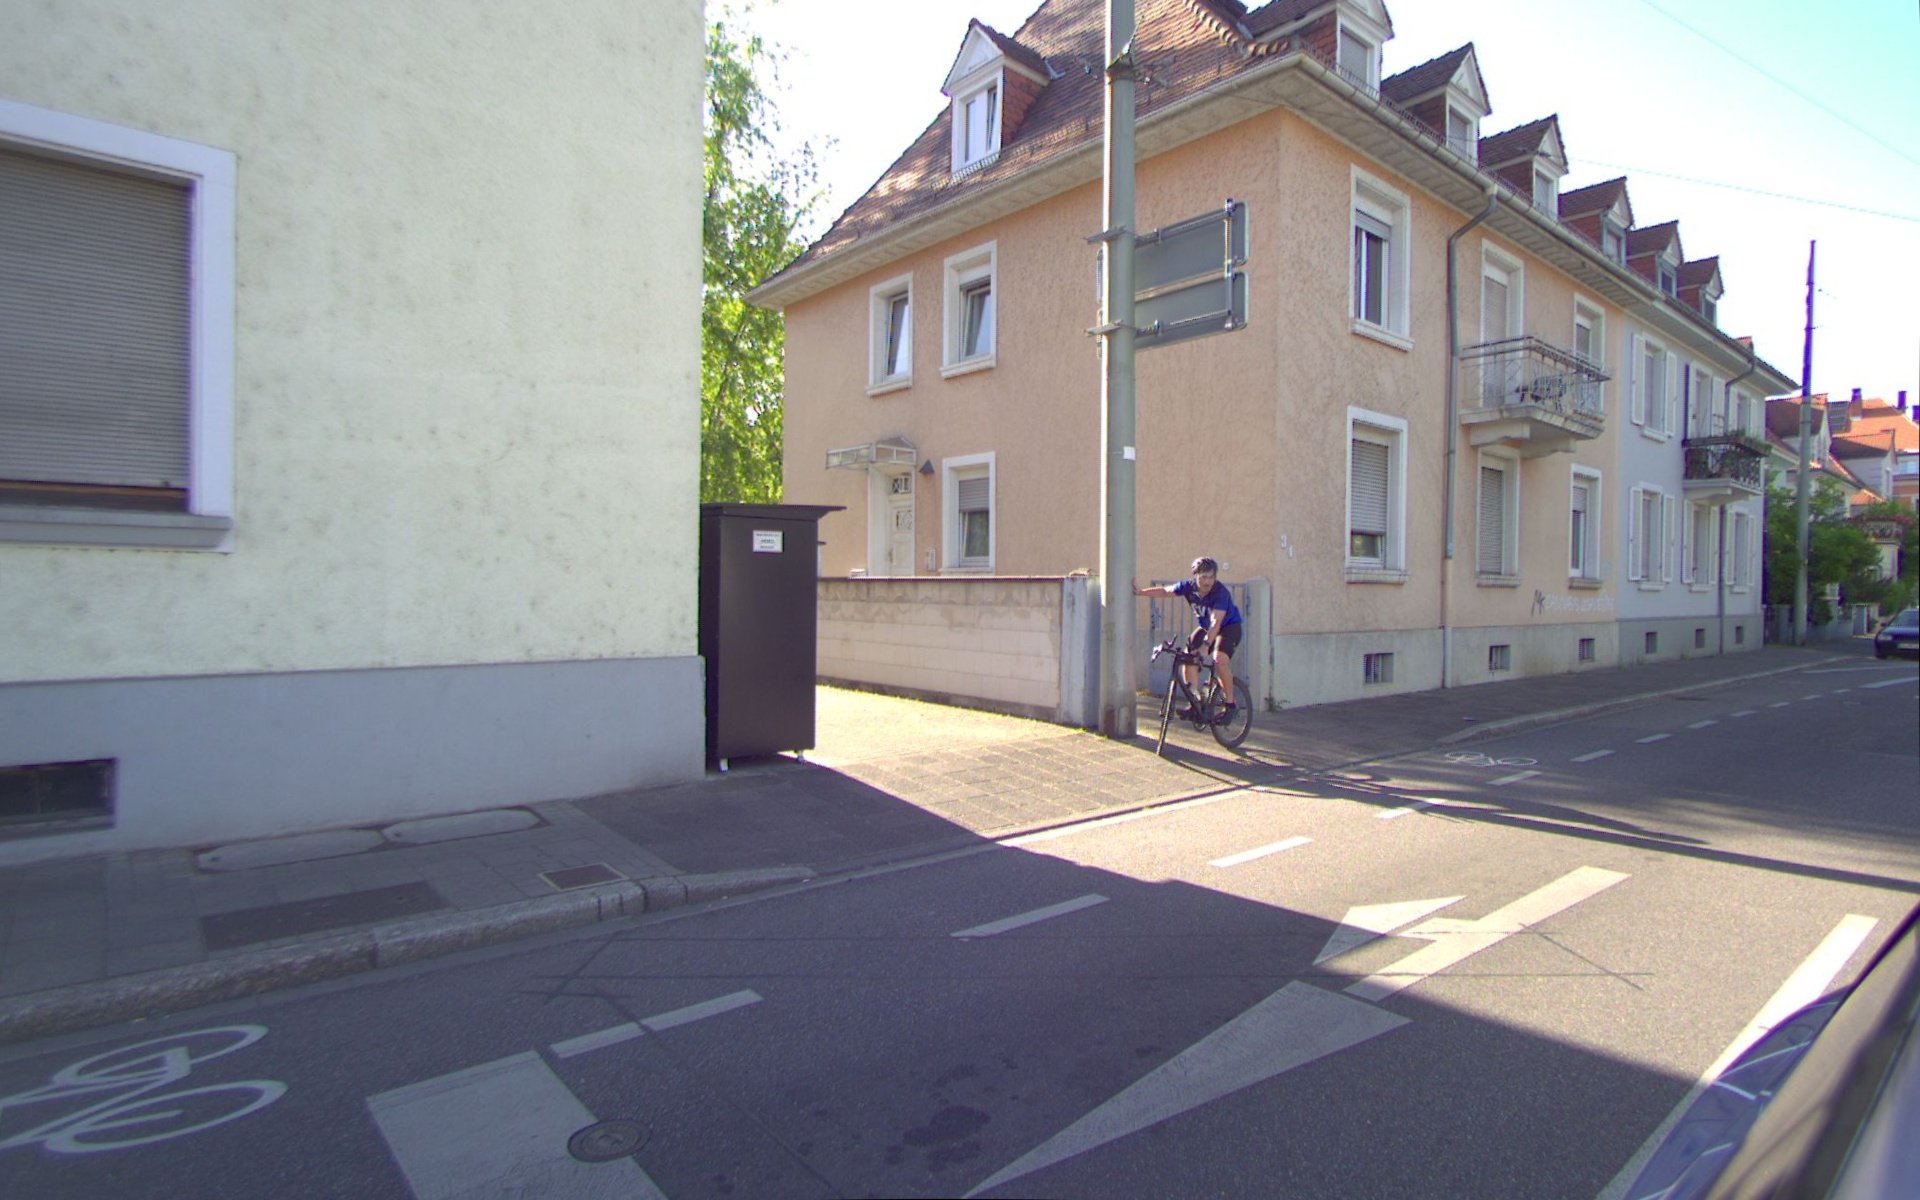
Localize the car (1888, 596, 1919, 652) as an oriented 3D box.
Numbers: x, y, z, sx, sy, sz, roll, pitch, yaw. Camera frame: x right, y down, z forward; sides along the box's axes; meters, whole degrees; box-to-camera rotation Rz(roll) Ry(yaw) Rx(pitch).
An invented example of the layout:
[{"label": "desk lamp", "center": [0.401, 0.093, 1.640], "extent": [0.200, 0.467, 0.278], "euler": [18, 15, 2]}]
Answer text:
[{"label": "car", "center": [26.716, 0.629, 27.400], "extent": [4.347, 1.425, 1.866], "euler": [0, 1, -41]}]

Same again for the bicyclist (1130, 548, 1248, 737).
[{"label": "bicyclist", "center": [2.107, 0.359, 9.282], "extent": [0.998, 1.637, 0.562], "euler": [0, 1, -40]}]

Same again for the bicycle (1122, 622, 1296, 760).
[{"label": "bicycle", "center": [2.323, 0.788, 9.321], "extent": [1.763, 1.074, 0.551], "euler": [0, 6, -41]}]
